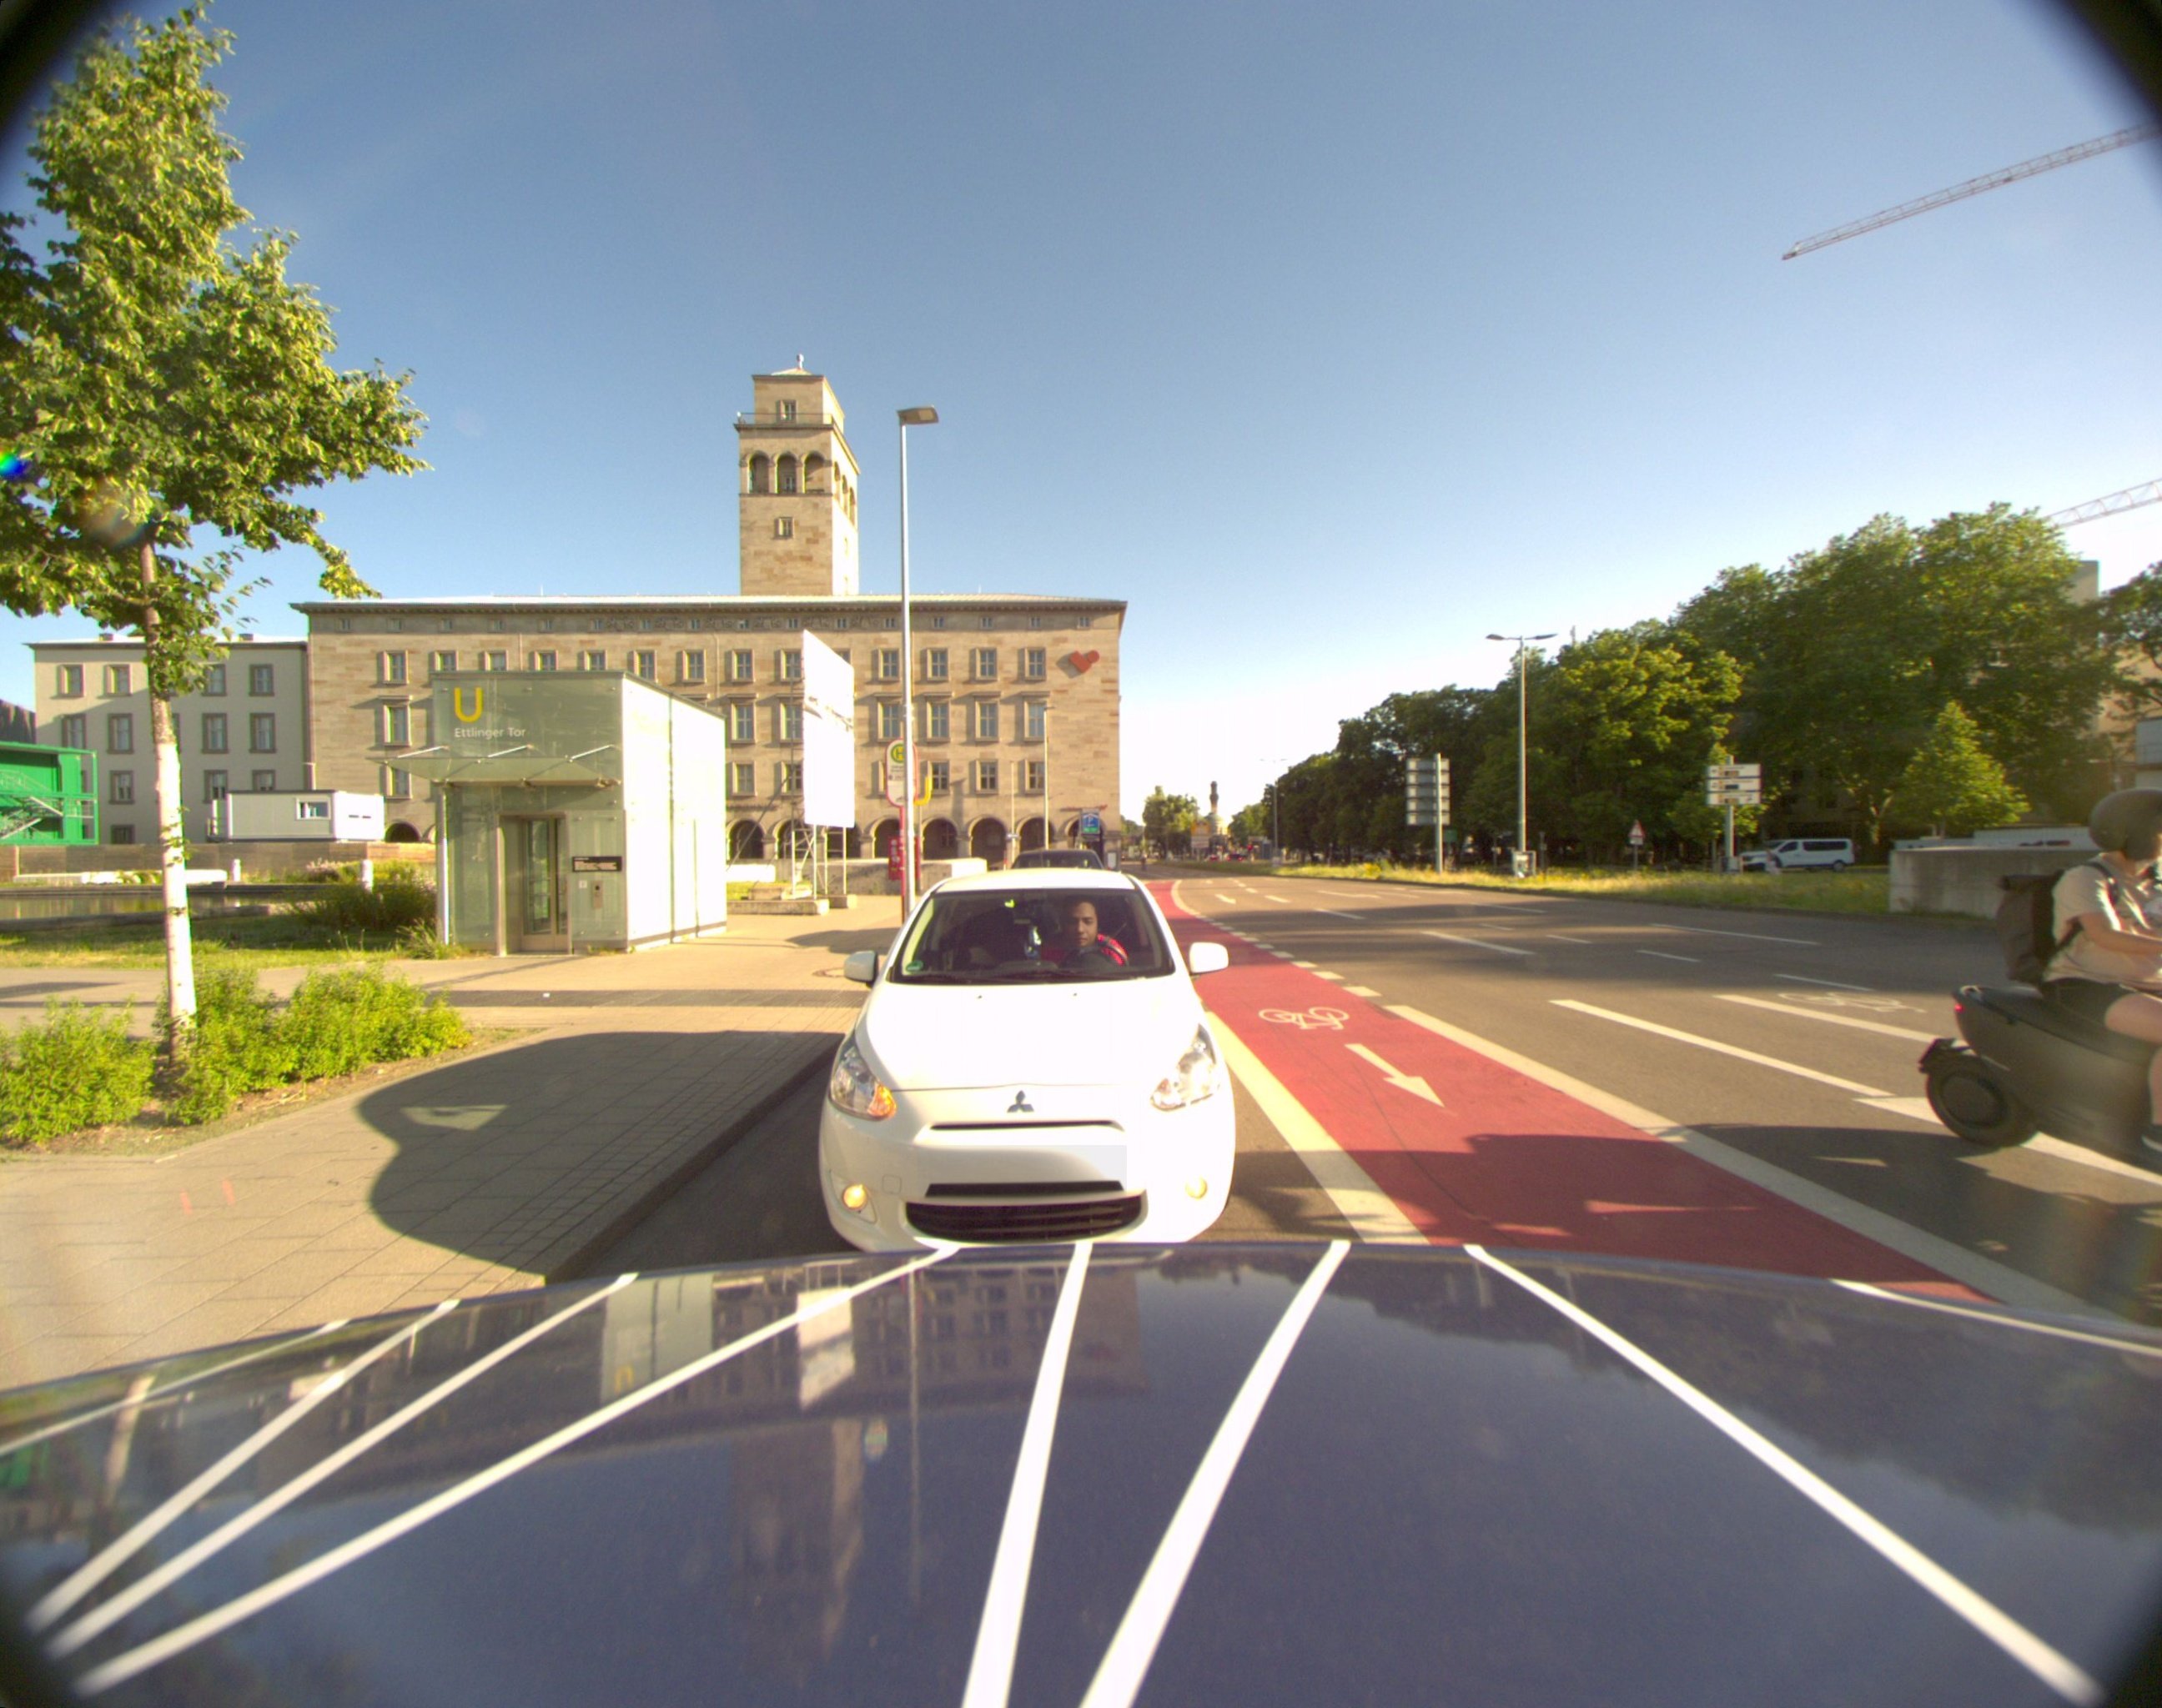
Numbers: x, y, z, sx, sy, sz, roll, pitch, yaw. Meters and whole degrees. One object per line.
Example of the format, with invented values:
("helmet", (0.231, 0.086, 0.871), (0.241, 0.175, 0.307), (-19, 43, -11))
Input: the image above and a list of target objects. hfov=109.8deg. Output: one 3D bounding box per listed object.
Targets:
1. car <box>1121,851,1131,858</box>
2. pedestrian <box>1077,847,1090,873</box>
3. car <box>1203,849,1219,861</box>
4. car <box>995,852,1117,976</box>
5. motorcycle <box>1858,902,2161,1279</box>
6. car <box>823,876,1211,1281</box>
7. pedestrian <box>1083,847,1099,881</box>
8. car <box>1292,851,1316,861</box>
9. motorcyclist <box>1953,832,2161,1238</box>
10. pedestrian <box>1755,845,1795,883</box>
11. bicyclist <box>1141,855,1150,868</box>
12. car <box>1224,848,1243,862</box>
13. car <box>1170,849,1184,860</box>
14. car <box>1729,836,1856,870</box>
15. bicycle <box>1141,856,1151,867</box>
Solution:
("car", (11.712, 0.111, 197.505), (1.877, 1.827, 4.584), (-2, 1, -3))
("pedestrian", (0.241, 0.559, 74.965), (1.122, 2.524, 1.055), (-2, 1, 1))
("car", (20.590, 0.121, 120.441), (1.747, 1.778, 3.947), (-2, 1, 1))
("car", (-0.370, 0.838, 12.519), (1.642, 1.653, 3.849), (-2, 0, -1))
("motorcycle", (4.286, 0.896, 2.886), (0.724, 1.286, 1.884), (-2, 0, 1))
("car", (-0.230, 0.952, 4.840), (1.496, 1.477, 3.604), (-2, 0, 1))
("pedestrian", (0.767, 0.739, 57.226), (1.122, 2.524, 1.055), (-2, 1, 1))
("car", (40.645, 0.305, 138.356), (3.993, 1.677, 1.852), (-2, 1, 11))
("motorcyclist", (4.279, 0.652, 2.939), (0.727, 1.466, 0.917), (-2, 0, 1))
("pedestrian", (33.853, 0.477, 37.098), (0.989, 1.821, 1.019), (-2, 1, -3))
("bicyclist", (6.891, 0.805, 80.699), (0.854, 1.340, 0.829), (-2, 1, 1))
("car", (21.556, 0.155, 107.626), (1.819, 1.817, 3.999), (-2, 1, 1))
("car", (16.402, 0.079, 129.699), (1.849, 1.677, 3.999), (-2, 1, 1))
("car", (42.137, -0.052, 45.111), (5.516, 1.924, 2.065), (-1, 1, 2))
("bicycle", (6.900, 0.816, 80.813), (0.854, 1.109, 2.808), (-2, 0, 1))
